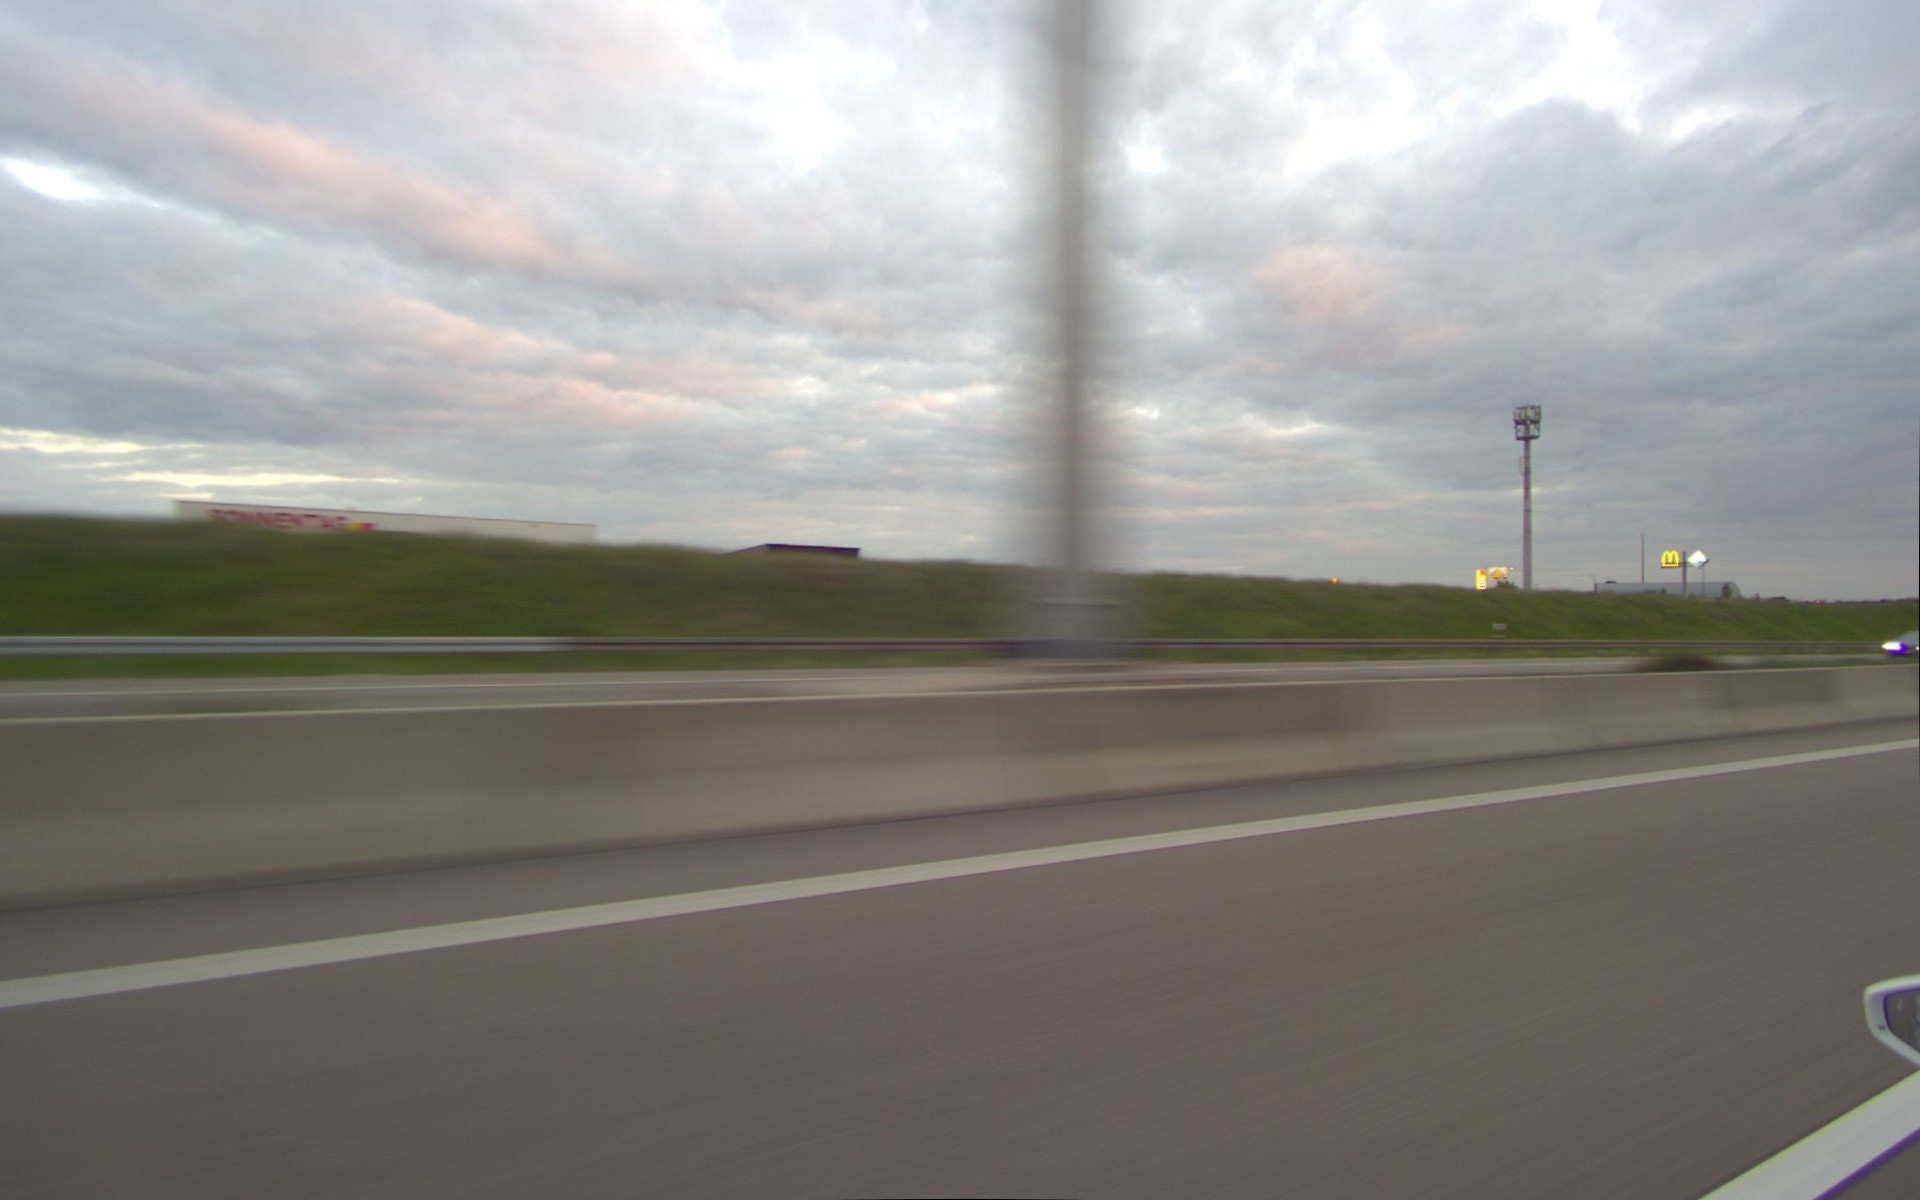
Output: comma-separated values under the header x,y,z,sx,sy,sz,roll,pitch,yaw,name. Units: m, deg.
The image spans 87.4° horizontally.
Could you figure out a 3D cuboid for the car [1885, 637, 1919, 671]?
x,y,z,sx,sy,sz,roll,pitch,yaw,name
47.845,2.669,49.502,5.141,1.623,1.983,2,-1,-31,car
